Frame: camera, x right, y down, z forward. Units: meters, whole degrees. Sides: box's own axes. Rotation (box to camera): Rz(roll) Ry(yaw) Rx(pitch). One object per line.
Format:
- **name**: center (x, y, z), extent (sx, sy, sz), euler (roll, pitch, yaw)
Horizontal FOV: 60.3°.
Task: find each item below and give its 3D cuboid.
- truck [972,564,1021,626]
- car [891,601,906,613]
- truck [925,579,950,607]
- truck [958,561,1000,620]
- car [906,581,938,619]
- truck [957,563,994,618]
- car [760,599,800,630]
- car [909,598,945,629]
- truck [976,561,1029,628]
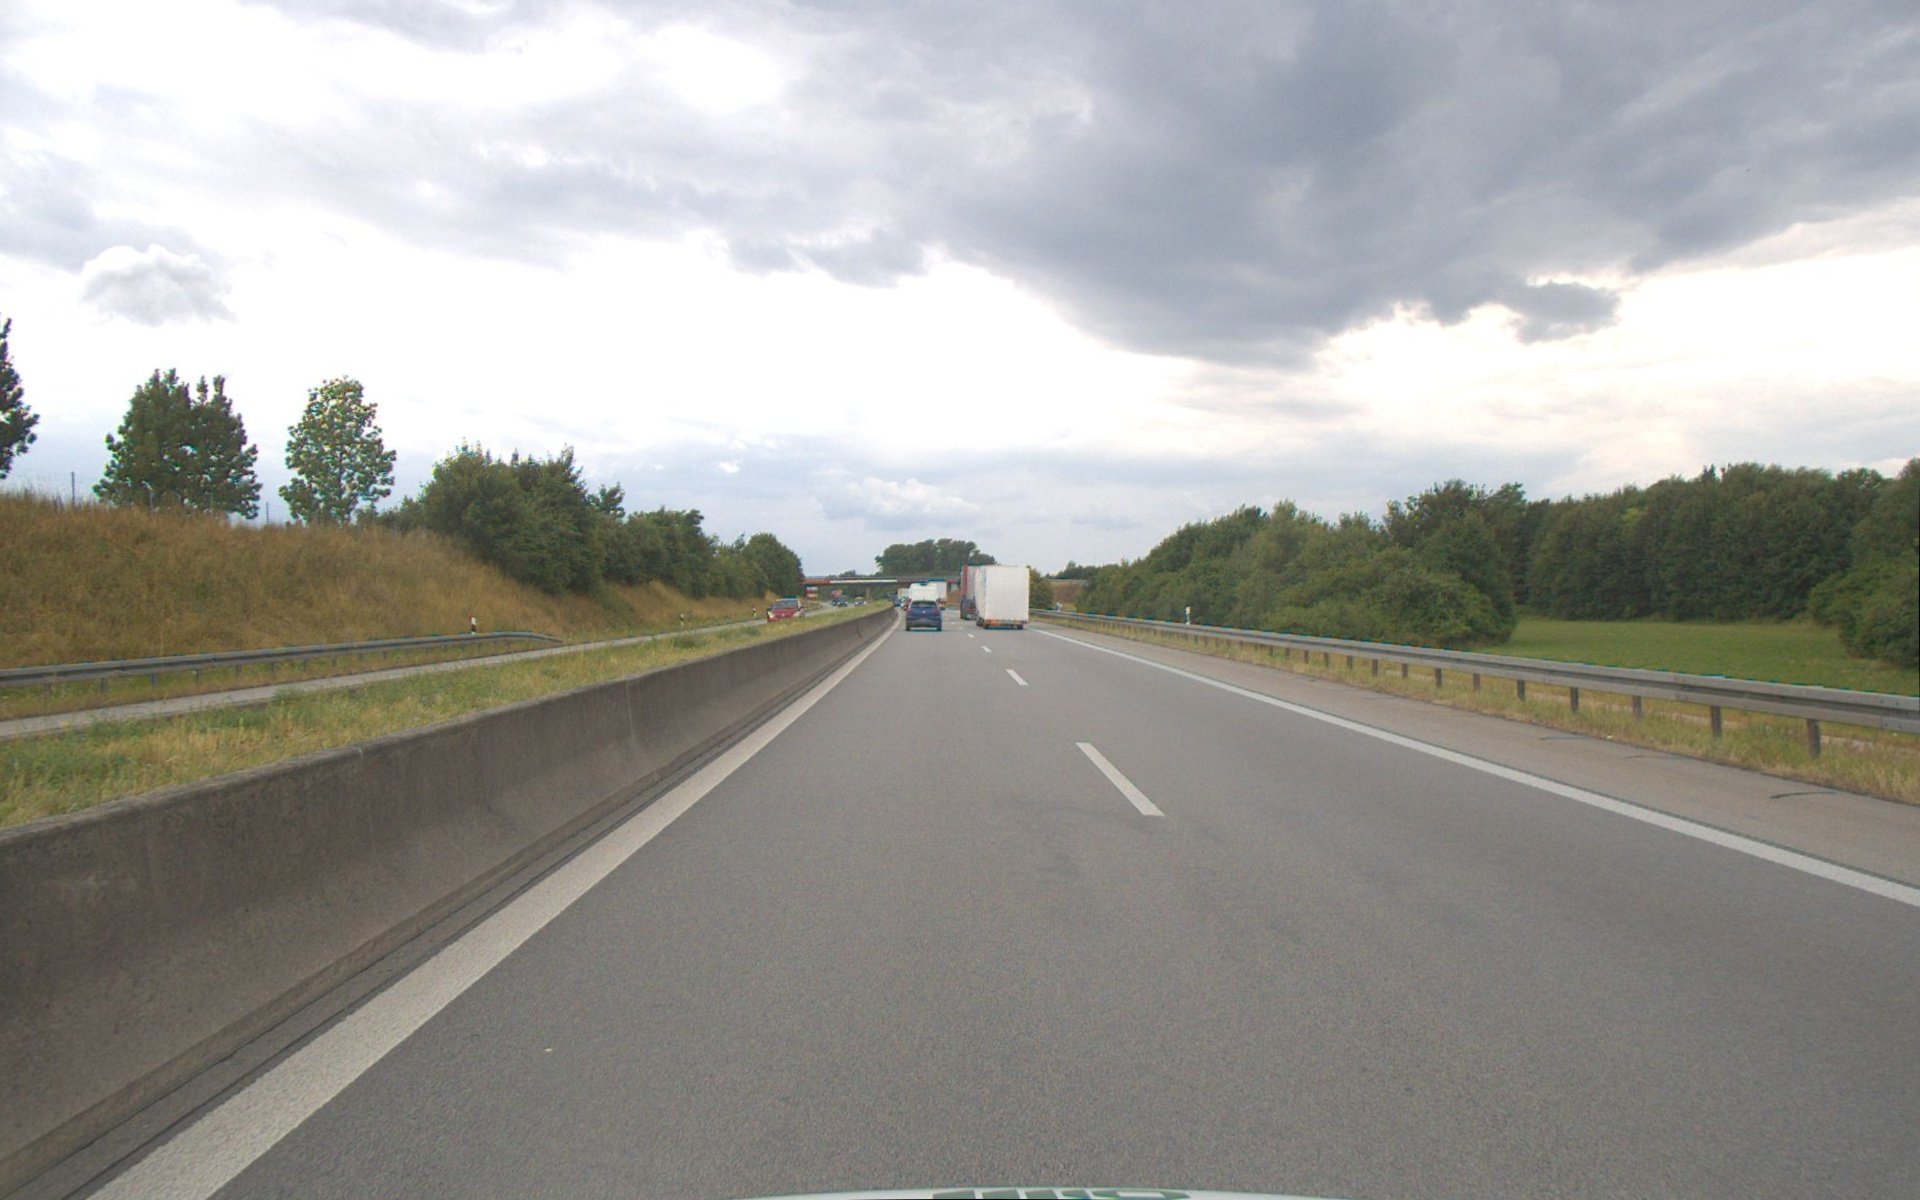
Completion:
- **truck**: center (1.962, -0.242, 91.991), extent (2.380, 3.300, 7.245), euler (0, 0, -1)
- **car**: center (-8.805, 0.981, 236.409), extent (1.954, 1.713, 3.997), euler (0, 0, -4)
- **truck**: center (-3.240, -0.924, 233.674), extent (3.049, 3.754, 9.316), euler (-2, 0, -3)
- **truck**: center (1.325, -0.680, 121.488), extent (2.619, 4.116, 11.104), euler (-1, 0, -2)
- **car**: center (-2.622, 0.038, 113.745), extent (2.087, 2.526, 5.837), euler (0, 0, -2)
- **truck**: center (1.164, -0.720, 126.866), extent (2.619, 4.116, 5.510), euler (-1, 0, -2)
- **car**: center (-10.135, 0.790, 93.489), extent (1.808, 1.599, 4.360), euler (-2, 0, -1)
- **car**: center (-1.554, 0.606, 77.458), extent (1.630, 1.432, 3.647), euler (0, 0, -1)
- **truck**: center (2.122, -0.267, 84.802), extent (2.366, 3.278, 7.141), euler (0, 0, -1)
